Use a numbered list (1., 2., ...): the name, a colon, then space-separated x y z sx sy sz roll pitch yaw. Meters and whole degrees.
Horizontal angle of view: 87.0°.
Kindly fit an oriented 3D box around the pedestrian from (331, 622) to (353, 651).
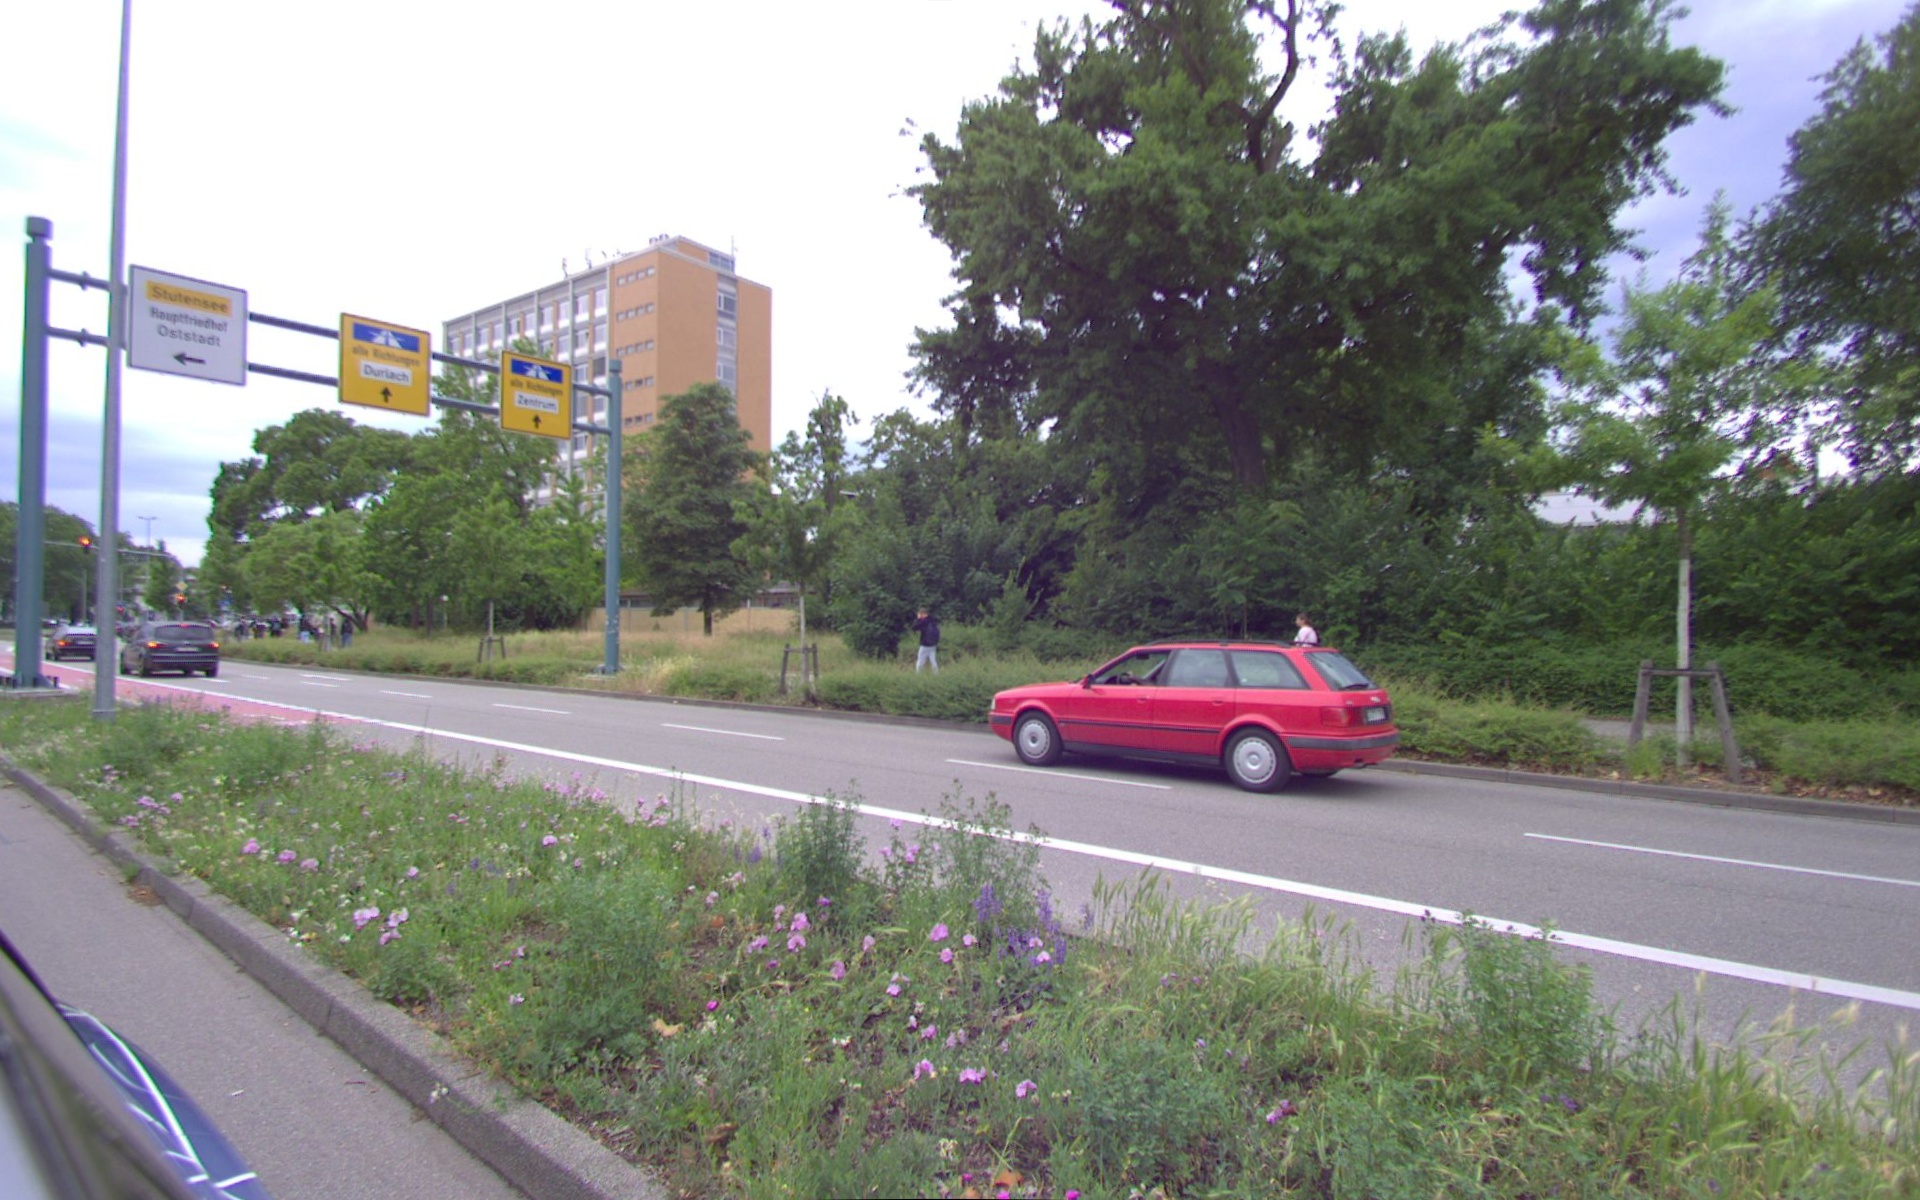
1. pedestrian: -29.129 1.719 47.717 0.680 1.373 0.638 -2 -4 39

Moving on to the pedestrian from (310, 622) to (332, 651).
1. pedestrian: -29.769 1.703 47.163 0.711 1.368 0.638 -2 -4 40

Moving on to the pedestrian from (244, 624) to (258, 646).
1. pedestrian: -48.329 2.378 69.000 0.762 1.491 0.628 -2 -4 44

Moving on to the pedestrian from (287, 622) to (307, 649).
1. pedestrian: -40.408 2.158 61.702 0.823 1.625 0.631 -2 -1 19

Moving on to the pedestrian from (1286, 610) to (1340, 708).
1. pedestrian: 6.118 1.007 17.517 0.671 1.648 0.693 -2 -4 41

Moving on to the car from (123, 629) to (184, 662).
1. car: -35.829 2.013 44.946 3.809 1.391 1.589 -2 -4 44

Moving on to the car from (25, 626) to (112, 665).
1. car: -36.532 1.832 41.451 4.784 1.471 1.747 -1 -4 38

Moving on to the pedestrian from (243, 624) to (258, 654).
1. pedestrian: -39.089 2.139 55.773 0.567 1.621 0.618 3 -4 -33

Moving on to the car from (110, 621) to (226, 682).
1. car: -23.732 1.509 30.287 4.397 1.677 1.900 -1 -3 41

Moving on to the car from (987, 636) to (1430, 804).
1. car: 2.470 1.114 10.757 4.292 1.429 1.696 -2 -3 41

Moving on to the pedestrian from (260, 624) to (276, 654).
1. pedestrian: -38.538 2.155 56.359 0.652 1.644 0.765 3 -4 -34

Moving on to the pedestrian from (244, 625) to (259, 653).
1. pedestrian: -44.230 2.430 63.177 0.613 1.708 0.749 2 -3 -29

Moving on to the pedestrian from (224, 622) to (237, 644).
1. pedestrian: -57.992 2.606 80.430 0.890 1.683 0.698 -2 -1 45

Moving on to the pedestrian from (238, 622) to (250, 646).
1. pedestrian: -54.487 2.609 77.027 0.762 1.815 0.630 -2 -3 44

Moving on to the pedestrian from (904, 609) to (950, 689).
1. pedestrian: -0.738 1.089 22.632 0.818 1.742 0.613 -2 -4 41

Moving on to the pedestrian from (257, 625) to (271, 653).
1. pedestrian: -43.448 2.456 63.197 0.570 1.725 0.764 2 -3 -28

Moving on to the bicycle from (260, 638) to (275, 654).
1. bicycle: -38.543 2.555 56.339 0.652 0.894 1.719 3 -3 -34

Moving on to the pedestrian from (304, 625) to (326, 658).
1. pedestrian: -33.565 2.159 52.678 0.766 1.685 0.700 -1 -4 35

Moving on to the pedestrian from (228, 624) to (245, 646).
1. pedestrian: -48.809 2.357 68.259 0.813 1.491 0.720 -2 -4 44

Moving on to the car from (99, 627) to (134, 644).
1. car: -85.704 3.615 102.847 1.785 1.680 3.962 2 -2 -27

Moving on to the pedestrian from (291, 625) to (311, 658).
1. pedestrian: -33.950 2.120 52.133 0.719 1.673 0.580 -1 -4 35

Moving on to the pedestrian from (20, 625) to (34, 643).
1. pedestrian: -109.420 4.004 118.745 0.972 2.029 0.910 3 -3 -33
